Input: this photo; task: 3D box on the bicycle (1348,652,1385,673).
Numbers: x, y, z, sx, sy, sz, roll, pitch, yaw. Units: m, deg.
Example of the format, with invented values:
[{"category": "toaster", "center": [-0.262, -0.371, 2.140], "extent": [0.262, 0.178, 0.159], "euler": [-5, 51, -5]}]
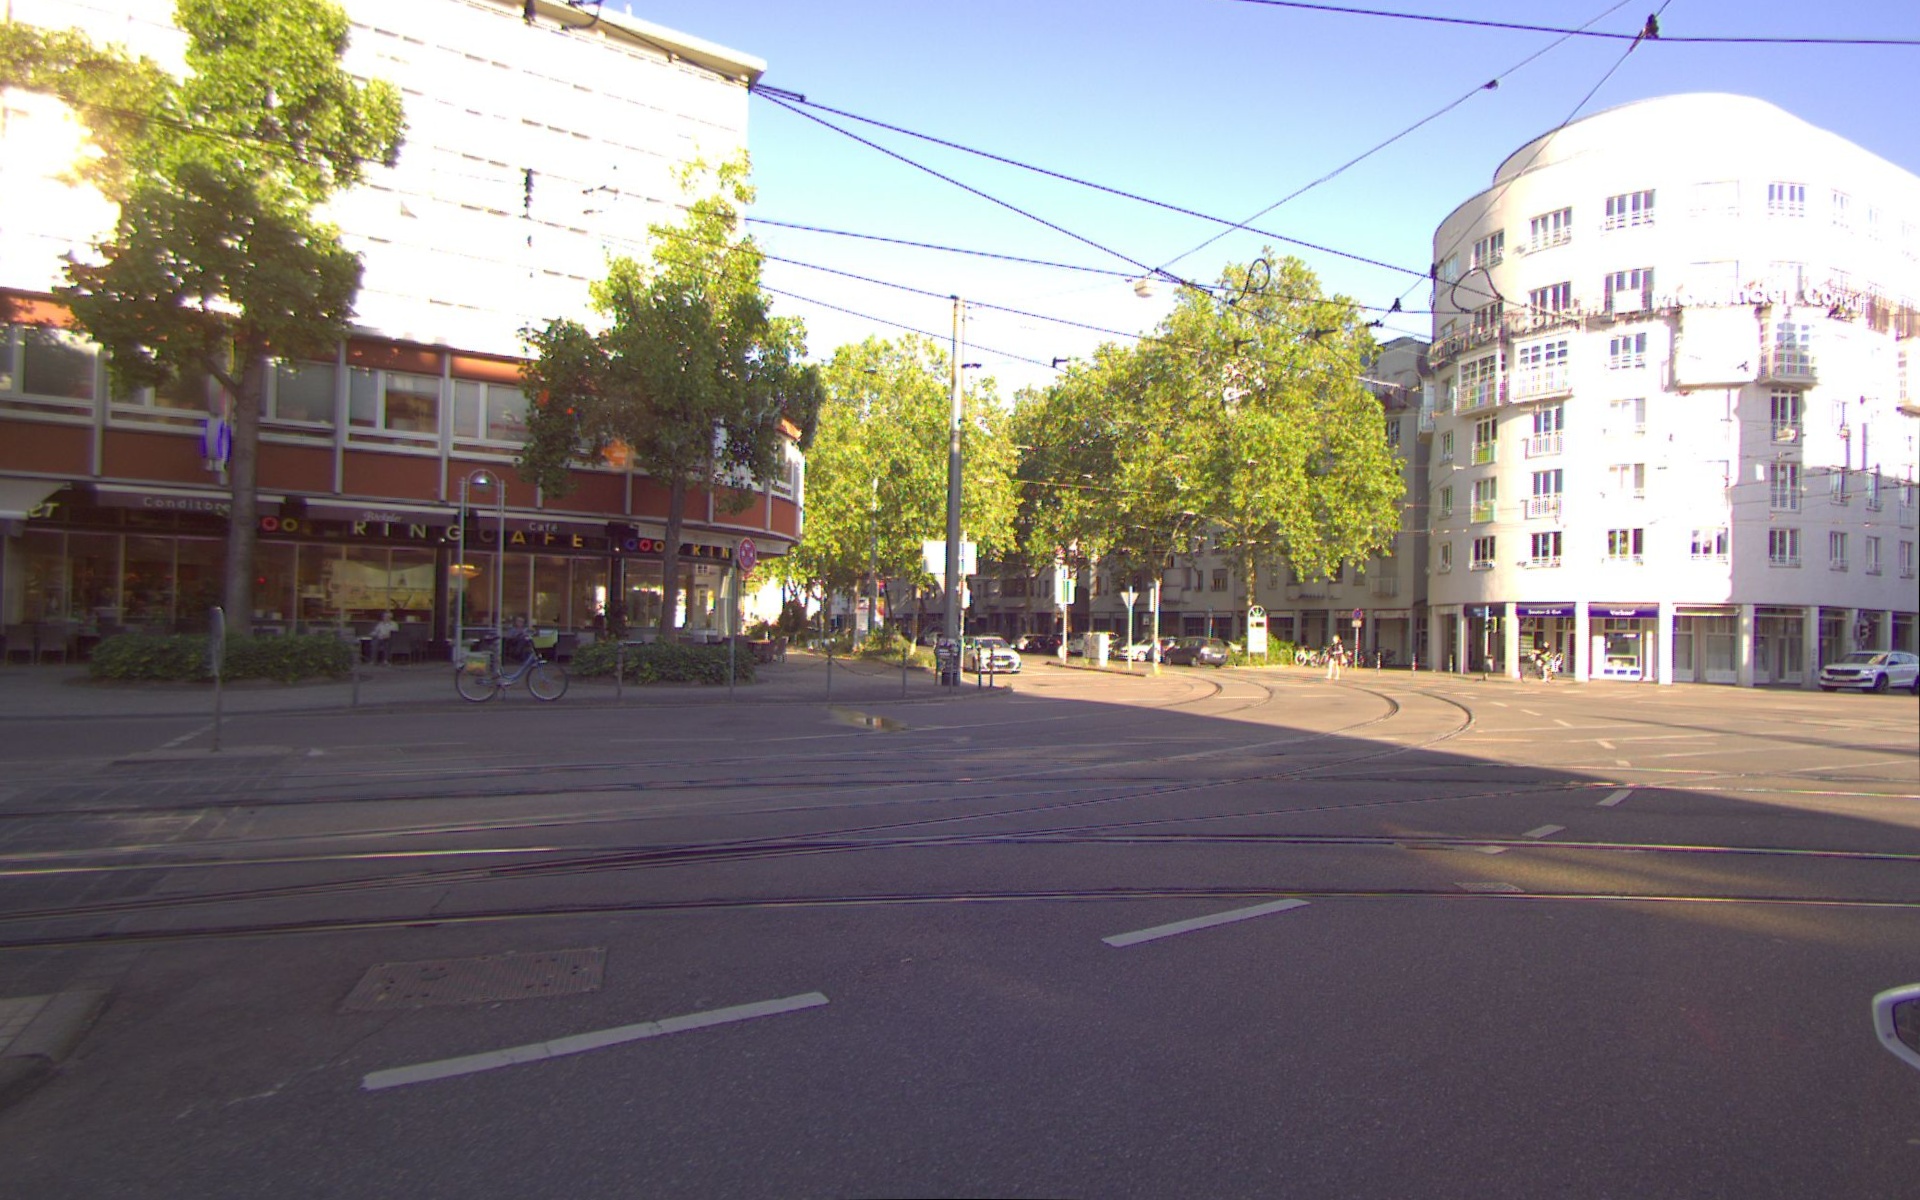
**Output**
[{"category": "bicycle", "center": [23.207, 3.554, 57.386], "extent": [0.807, 1.122, 1.938], "euler": [2, -2, -22]}]

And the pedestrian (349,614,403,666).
[{"category": "pedestrian", "center": [-14.699, 0.999, 25.299], "extent": [0.891, 1.279, 0.839], "euler": [2, -2, -11]}]

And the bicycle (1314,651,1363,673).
[{"category": "bicycle", "center": [21.037, 3.460, 55.905], "extent": [0.930, 1.122, 2.415], "euler": [2, -2, -40]}]

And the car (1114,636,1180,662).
[{"category": "car", "center": [12.070, 3.160, 64.764], "extent": [3.951, 1.530, 1.787], "euler": [3, -2, -29]}]

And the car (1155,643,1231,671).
[{"category": "car", "center": [12.705, 3.082, 55.104], "extent": [1.864, 1.439, 4.432], "euler": [2, -2, -23]}]

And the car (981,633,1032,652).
[{"category": "car", "center": [3.926, 3.579, 85.013], "extent": [3.946, 1.530, 1.789], "euler": [2, -2, -25]}]

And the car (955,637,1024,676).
[{"category": "car", "center": [1.095, 2.232, 40.163], "extent": [1.857, 1.439, 4.449], "euler": [2, -3, -10]}]

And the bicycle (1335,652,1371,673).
[{"category": "bicycle", "center": [22.307, 3.525, 57.010], "extent": [0.807, 1.122, 1.938], "euler": [2, -2, -22]}]

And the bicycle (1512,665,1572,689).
[{"category": "bicycle", "center": [24.347, 3.213, 42.028], "extent": [2.227, 0.939, 0.841], "euler": [2, -2, -16]}]

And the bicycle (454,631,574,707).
[{"category": "bicycle", "center": [-7.660, 1.182, 17.329], "extent": [1.829, 1.251, 0.579], "euler": [2, 0, -22]}]

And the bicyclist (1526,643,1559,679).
[{"category": "bicyclist", "center": [24.377, 2.549, 42.039], "extent": [0.881, 1.486, 0.841], "euler": [2, -2, -15]}]

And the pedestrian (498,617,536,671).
[{"category": "pedestrian", "center": [-11.823, 1.169, 26.786], "extent": [0.879, 1.414, 0.931], "euler": [2, -2, -25]}]

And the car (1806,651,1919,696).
[{"category": "car", "center": [35.495, 2.865, 39.286], "extent": [4.448, 1.641, 1.989], "euler": [2, -2, -24]}]

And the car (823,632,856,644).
[{"category": "car", "center": [-15.876, 5.014, 131.974], "extent": [3.951, 1.530, 1.787], "euler": [3, -2, -29]}]

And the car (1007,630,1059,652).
[{"category": "car", "center": [6.053, 3.401, 83.410], "extent": [3.951, 1.738, 1.787], "euler": [3, -2, -29]}]

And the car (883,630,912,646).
[{"category": "car", "center": [-6.318, 3.863, 101.515], "extent": [1.773, 1.530, 3.981], "euler": [2, -2, -21]}]

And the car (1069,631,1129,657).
[{"category": "car", "center": [9.928, 3.166, 71.702], "extent": [3.951, 1.738, 1.787], "euler": [3, -2, -29]}]

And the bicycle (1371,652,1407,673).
[{"category": "bicycle", "center": [24.967, 3.616, 58.501], "extent": [0.807, 1.122, 1.937], "euler": [2, -2, -24]}]

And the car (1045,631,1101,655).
[{"category": "car", "center": [8.650, 3.277, 76.674], "extent": [3.951, 1.738, 1.787], "euler": [3, -2, -29]}]

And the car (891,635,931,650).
[{"category": "car", "center": [-5.315, 4.622, 109.848], "extent": [3.951, 1.530, 1.787], "euler": [3, -2, -29]}]

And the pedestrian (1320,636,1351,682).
[{"category": "pedestrian", "center": [14.248, 2.220, 38.130], "extent": [0.685, 1.704, 0.868], "euler": [0, -2, -18]}]

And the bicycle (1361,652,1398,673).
[{"category": "bicycle", "center": [24.239, 3.590, 58.042], "extent": [0.807, 1.122, 1.937], "euler": [2, -2, -24]}]

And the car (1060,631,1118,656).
[{"category": "car", "center": [9.544, 3.207, 74.337], "extent": [3.951, 1.738, 1.787], "euler": [3, -2, -29]}]
